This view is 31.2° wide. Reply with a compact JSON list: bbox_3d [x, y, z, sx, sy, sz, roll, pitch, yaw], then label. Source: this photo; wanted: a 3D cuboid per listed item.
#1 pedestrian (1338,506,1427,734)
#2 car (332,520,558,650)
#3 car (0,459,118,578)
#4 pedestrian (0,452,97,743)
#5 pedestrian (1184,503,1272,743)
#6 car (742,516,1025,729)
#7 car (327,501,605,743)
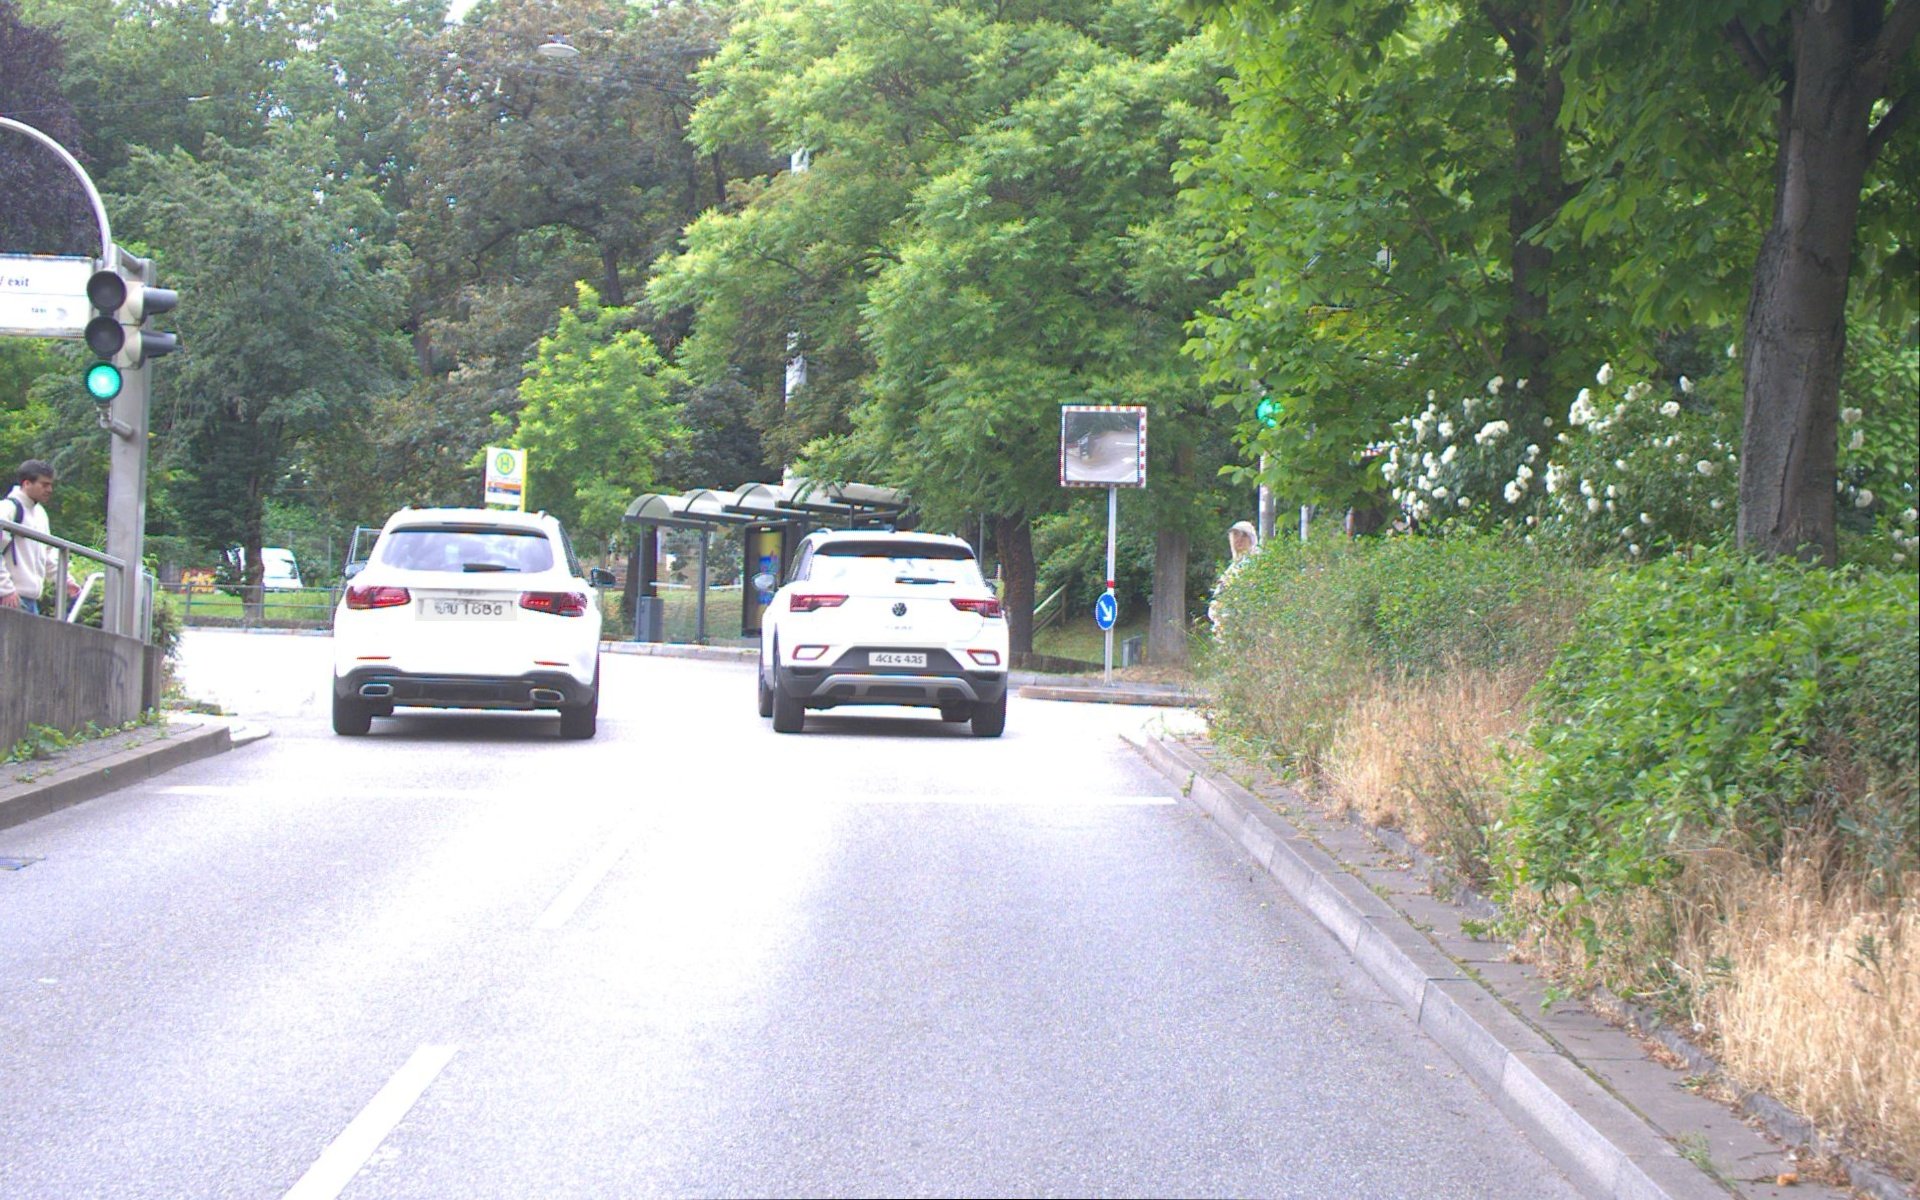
[{"bbox_3d":[3.209,0.145,26.154,0.615,1.706,0.727,0,0,3],"label":"pedestrian"},{"bbox_3d":[-7.042,-0.223,46.733,1.860,1.626,3.960,3,0,-26],"label":"car"},{"bbox_3d":[-14.174,-1.191,50.178,2.247,1.514,4.307,7,-3,-33],"label":"car"},{"bbox_3d":[-6.066,-0.025,22.308,0.705,1.854,0.614,1,1,6],"label":"pedestrian"},{"bbox_3d":[1.938,0.162,24.895,0.615,1.706,0.727,0,0,3],"label":"pedestrian"},{"bbox_3d":[-0.680,0.156,27.262,1.864,1.551,3.895,1,0,-7],"label":"car"},{"bbox_3d":[-3.689,0.108,25.678,1.876,1.646,4.342,0,1,-8],"label":"car"}]
